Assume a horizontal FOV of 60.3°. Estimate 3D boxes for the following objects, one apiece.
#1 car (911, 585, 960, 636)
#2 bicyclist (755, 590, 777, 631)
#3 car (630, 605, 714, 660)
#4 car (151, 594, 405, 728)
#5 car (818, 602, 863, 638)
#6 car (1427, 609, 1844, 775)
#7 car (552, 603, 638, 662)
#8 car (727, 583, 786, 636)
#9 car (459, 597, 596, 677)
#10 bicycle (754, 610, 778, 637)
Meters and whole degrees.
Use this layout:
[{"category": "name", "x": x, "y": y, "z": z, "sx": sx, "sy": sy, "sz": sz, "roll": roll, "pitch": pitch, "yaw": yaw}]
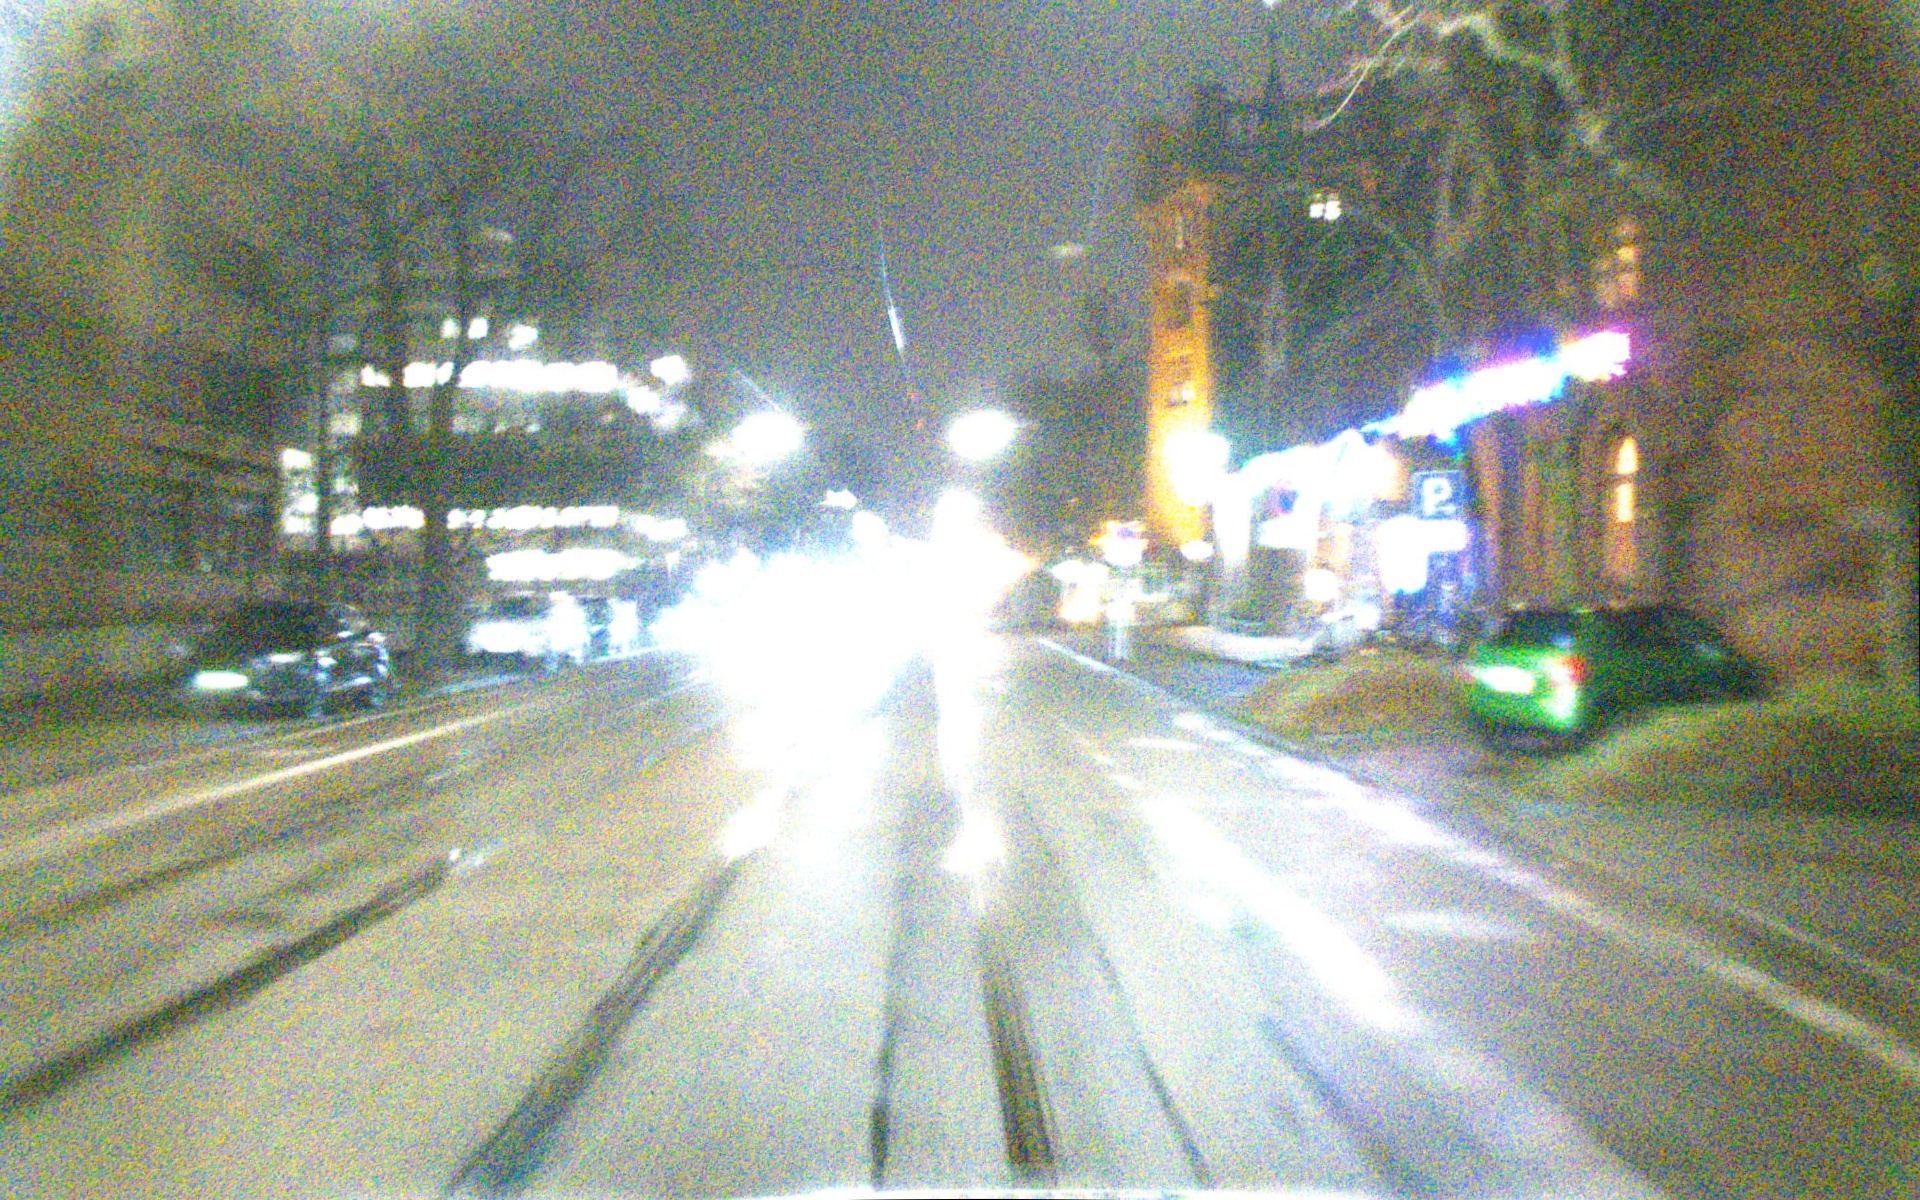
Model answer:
[{"category": "car", "x": -1.216, "y": 0.511, "z": 79.863, "sx": 2.199, "sy": 2.402, "sz": 4.391, "roll": 0, "pitch": 0, "yaw": -2}, {"category": "bicyclist", "x": -8.138, "y": 0.437, "z": 69.420, "sx": 0.766, "sy": 1.684, "sz": 1.206, "roll": -2, "pitch": 0, "yaw": -1}, {"category": "car", "x": -9.496, "y": 1.045, "z": 54.874, "sx": 1.929, "sy": 1.684, "sz": 4.601, "roll": 2, "pitch": 0, "yaw": 0}, {"category": "car", "x": -9.237, "y": 0.775, "z": 22.821, "sx": 1.843, "sy": 1.572, "sz": 4.396, "roll": 4, "pitch": -1, "yaw": -4}, {"category": "car", "x": -5.359, "y": 0.859, "z": 74.534, "sx": 1.740, "sy": 1.544, "sz": 4.050, "roll": 0, "pitch": 0, "yaw": -1}, {"category": "car", "x": 7.139, "y": 0.896, "z": 17.467, "sx": 4.043, "sy": 1.564, "sz": 1.944, "roll": 1, "pitch": 0, "yaw": -27}, {"category": "car", "x": -9.576, "y": 0.818, "z": 43.603, "sx": 1.657, "sy": 1.446, "sz": 3.911, "roll": 0, "pitch": 0, "yaw": -4}, {"category": "car", "x": -10.546, "y": 0.447, "z": 86.223, "sx": 2.140, "sy": 2.637, "sz": 6.392, "roll": 0, "pitch": 0, "yaw": 1}, {"category": "car", "x": -9.516, "y": 0.779, "z": 36.786, "sx": 1.943, "sy": 1.660, "sz": 4.516, "roll": 0, "pitch": 0, "yaw": -1}, {"category": "bicycle", "x": -8.120, "y": 0.992, "z": 69.412, "sx": 0.766, "sy": 1.101, "sz": 1.918, "roll": -2, "pitch": 0, "yaw": -1}]
